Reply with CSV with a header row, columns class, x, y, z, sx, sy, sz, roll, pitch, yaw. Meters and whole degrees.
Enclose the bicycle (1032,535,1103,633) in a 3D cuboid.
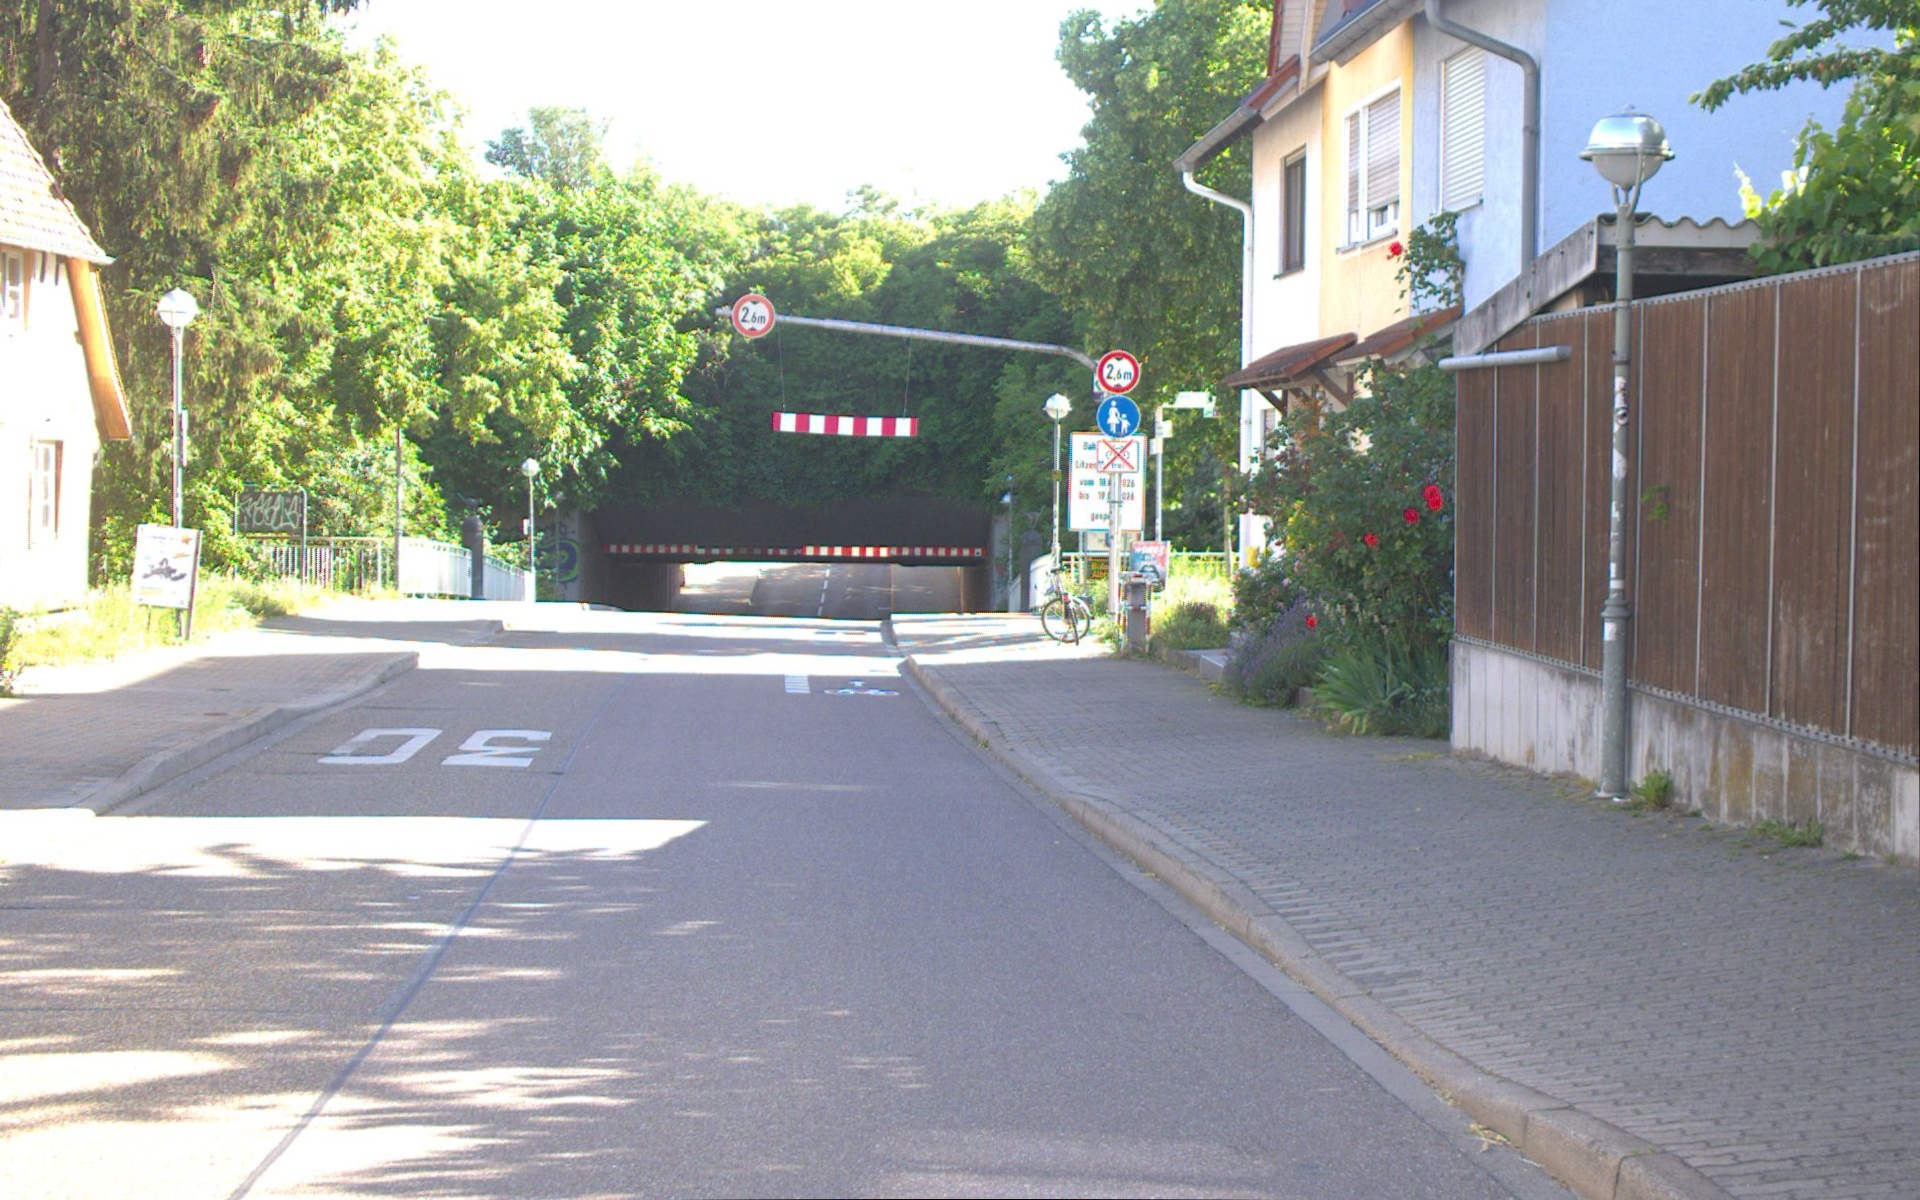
class,x,y,z,sx,sy,sz,roll,pitch,yaw
bicycle,1.385,-0.220,44.505,0.688,1.153,1.540,-5,2,-3
